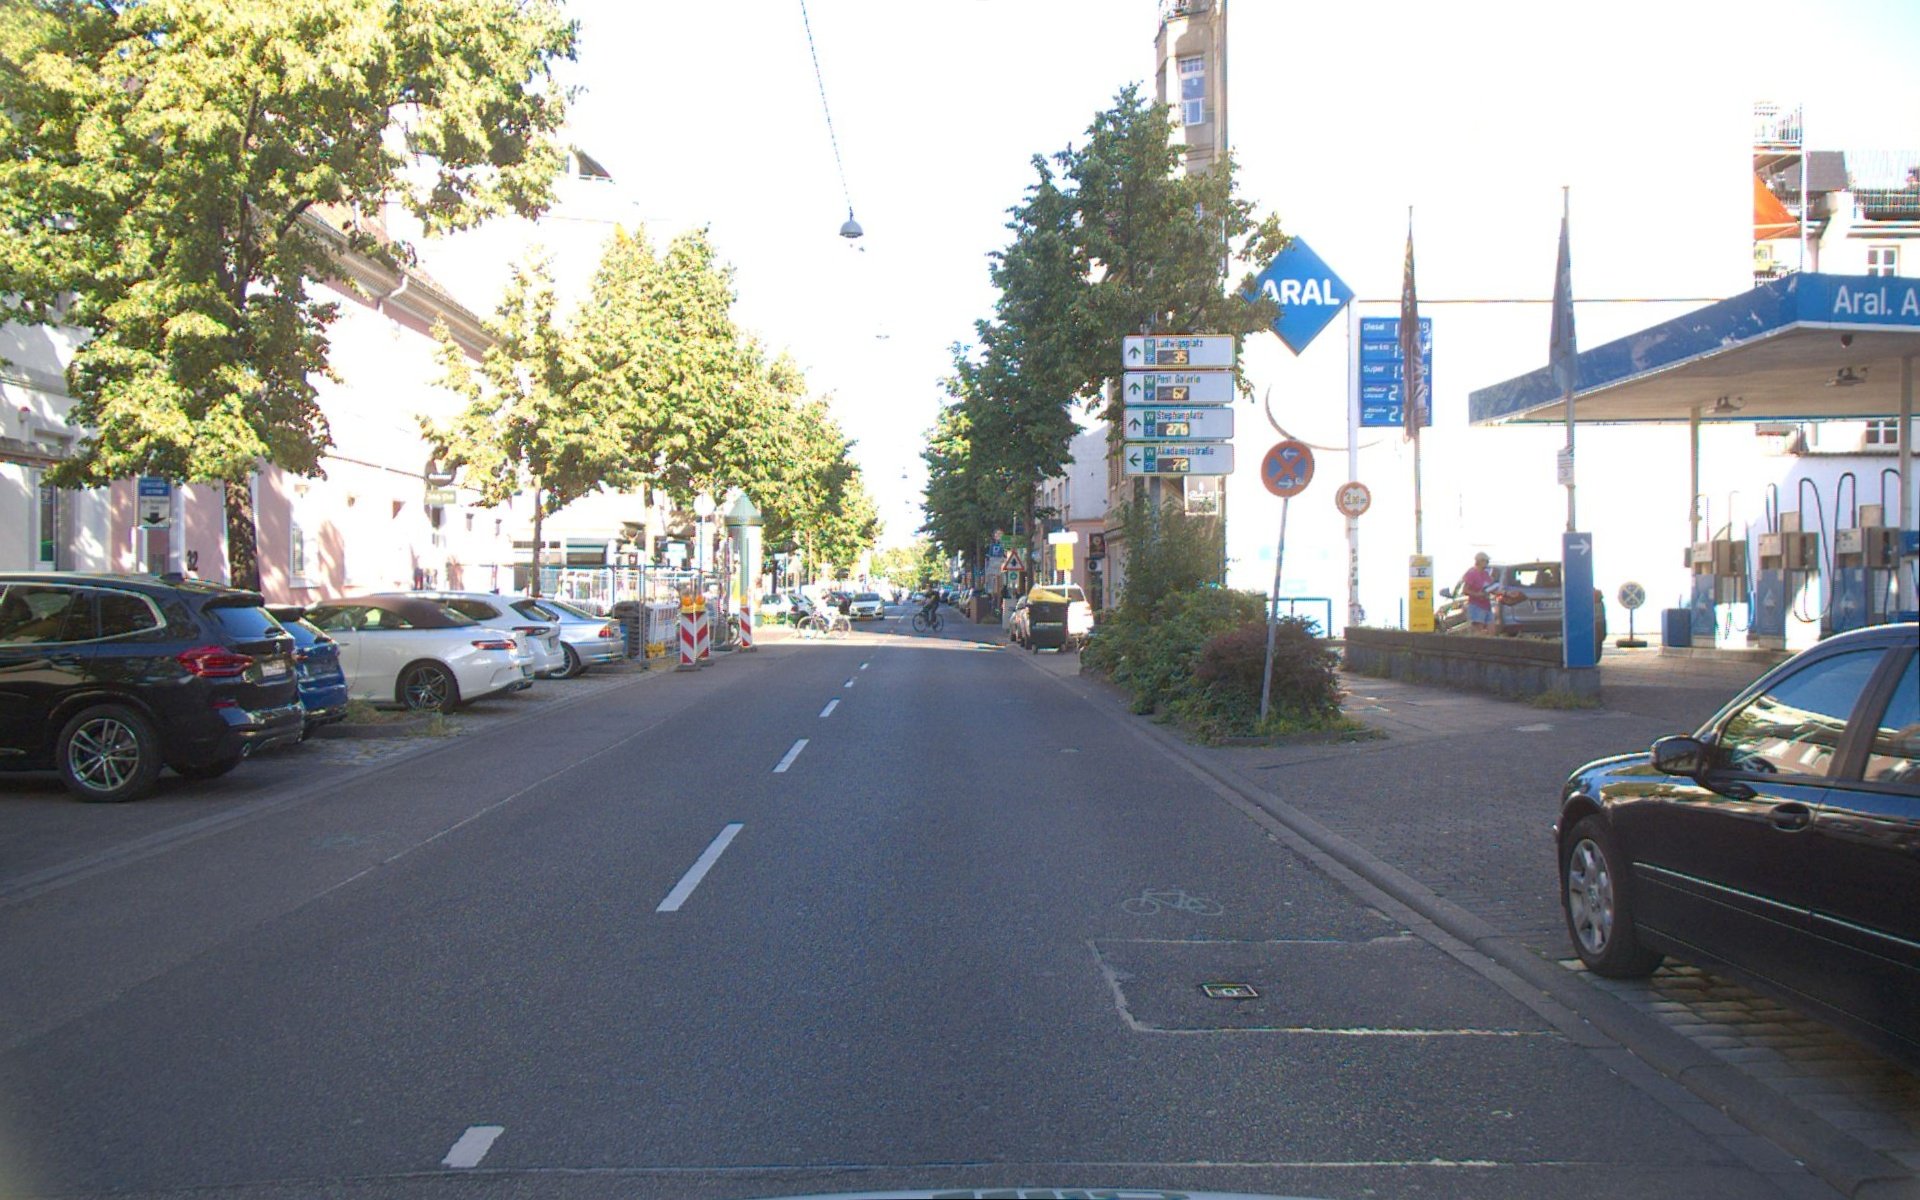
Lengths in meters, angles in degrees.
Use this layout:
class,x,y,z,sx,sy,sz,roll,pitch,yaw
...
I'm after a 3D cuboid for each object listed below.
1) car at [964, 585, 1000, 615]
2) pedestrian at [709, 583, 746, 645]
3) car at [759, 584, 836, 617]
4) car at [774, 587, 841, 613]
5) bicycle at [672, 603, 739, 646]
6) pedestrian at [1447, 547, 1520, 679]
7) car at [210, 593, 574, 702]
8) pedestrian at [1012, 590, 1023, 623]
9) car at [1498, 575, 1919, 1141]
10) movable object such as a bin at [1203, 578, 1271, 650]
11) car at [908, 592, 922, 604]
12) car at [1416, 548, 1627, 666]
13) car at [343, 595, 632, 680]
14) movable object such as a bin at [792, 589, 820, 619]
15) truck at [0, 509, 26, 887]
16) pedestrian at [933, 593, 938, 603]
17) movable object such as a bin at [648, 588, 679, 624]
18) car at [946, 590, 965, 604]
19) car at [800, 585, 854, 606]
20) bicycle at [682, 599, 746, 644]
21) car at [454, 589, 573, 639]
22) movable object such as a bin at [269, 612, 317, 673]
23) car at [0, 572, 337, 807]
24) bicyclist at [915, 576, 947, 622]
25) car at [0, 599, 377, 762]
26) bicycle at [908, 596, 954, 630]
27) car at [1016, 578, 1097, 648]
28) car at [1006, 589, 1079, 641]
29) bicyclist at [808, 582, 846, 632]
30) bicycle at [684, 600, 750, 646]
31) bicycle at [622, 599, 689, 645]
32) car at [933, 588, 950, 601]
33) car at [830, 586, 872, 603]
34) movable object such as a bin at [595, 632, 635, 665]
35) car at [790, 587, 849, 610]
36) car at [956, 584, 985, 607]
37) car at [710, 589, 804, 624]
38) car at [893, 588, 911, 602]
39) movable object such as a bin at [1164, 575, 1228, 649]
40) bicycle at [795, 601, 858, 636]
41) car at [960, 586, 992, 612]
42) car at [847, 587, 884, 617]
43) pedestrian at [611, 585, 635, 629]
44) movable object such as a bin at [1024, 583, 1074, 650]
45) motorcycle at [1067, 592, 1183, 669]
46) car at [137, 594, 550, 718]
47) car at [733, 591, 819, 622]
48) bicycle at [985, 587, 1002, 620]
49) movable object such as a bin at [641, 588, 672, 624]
class,x,y,z,sx,sy,sz,roll,pitch,yaw
car,1.259,-0.017,96.670,1.953,1.637,3.999,-1,1,-2
pedestrian,-6.667,0.396,47.393,0.785,1.737,0.758,0,0,-34
car,-8.968,0.000,91.512,3.903,1.724,2.001,-1,1,3
car,-9.213,-0.005,100.323,3.907,1.526,1.999,-1,1,-3
bicycle,-7.073,0.683,46.034,1.820,1.191,0.599,0,0,-9
pedestrian,7.635,0.185,24.138,0.698,1.882,0.683,-1,0,-25
car,-7.997,0.643,23.643,4.588,1.491,1.806,0,0,-5
pedestrian,3.006,0.336,86.849,0.535,1.678,0.664,-1,0,-1
car,3.416,0.665,5.087,1.862,1.436,4.645,-2,0,-2
movable object such as a bin,6.186,0.307,37.028,1.245,1.557,1.176,-1,0,-3
car,-6.003,-0.270,221.290,1.756,1.436,3.999,-1,1,-2
car,8.771,0.088,26.232,1.862,1.677,4.293,-1,0,0
car,-8.206,0.634,29.044,4.588,1.437,1.806,0,0,-5
movable object such as a bin,-7.954,0.222,85.303,1.307,1.504,1.480,-1,0,-2
truck,-7.483,0.569,7.763,4.982,1.972,1.999,-1,0,-2
pedestrian,-2.556,-0.228,172.866,0.534,1.044,0.546,-1,0,-4
movable object such as a bin,-12.859,0.250,71.732,1.148,1.511,1.314,-1,0,-4
car,-0.479,-0.312,178.009,1.953,1.534,3.998,0,0,-2
car,-10.039,-0.328,125.025,3.907,1.526,1.999,-1,1,-3
bicycle,-7.092,0.614,47.720,1.820,1.274,0.599,0,0,-9
car,-16.083,0.490,59.574,3.933,1.638,1.986,-2,0,-23
movable object such as a bin,-12.214,0.772,30.300,0.619,1.078,0.544,-2,0,-1
car,-7.554,0.657,13.039,4.584,1.723,1.808,0,0,0
bicyclist,-1.106,-0.029,63.084,0.706,1.722,1.154,-1,0,34
car,-8.292,0.740,16.099,4.584,1.489,1.808,0,0,0
bicycle,-1.105,0.500,63.083,0.706,1.241,2.030,-1,0,33
car,2.578,0.318,45.186,1.785,1.708,4.600,-3,0,-1
car,2.474,0.423,50.504,1.786,1.415,4.299,-3,0,-2
bicyclist,-4.358,0.222,54.128,1.025,1.587,0.762,-1,0,-28
bicycle,-6.862,0.645,46.713,1.820,1.274,0.599,0,0,-9
bicycle,-8.567,0.613,46.489,1.749,1.274,0.601,0,0,10
car,-2.193,-0.620,197.566,1.953,1.534,3.998,0,0,-2
car,-10.476,-0.523,159.218,3.907,1.526,1.999,-1,1,-3
movable object such as a bin,-7.217,1.014,34.618,0.615,0.627,1.077,-1,0,-2
car,-9.699,-0.119,114.263,3.907,1.526,1.999,-1,1,-3
car,0.766,-0.359,122.672,1.953,1.637,3.999,-1,1,-2
car,-8.912,0.273,72.811,3.907,1.414,1.999,-1,1,-3
car,-6.253,-0.576,177.294,1.786,1.415,4.299,-3,0,-2
movable object such as a bin,5.463,0.259,38.377,1.181,1.656,1.497,-1,0,-3
bicycle,-4.373,0.595,54.131,1.927,1.077,0.762,-1,0,-28
car,1.029,-0.096,110.041,1.953,1.637,3.999,-1,1,-2
car,-4.972,0.107,87.530,1.766,1.460,4.407,-3,0,-2
pedestrian,-13.050,0.266,64.048,0.755,1.671,0.689,-1,0,-2
movable object such as a bin,2.209,0.399,40.895,1.118,1.589,1.460,-1,0,7
motorcycle,3.040,0.548,30.544,1.944,1.353,0.908,-1,0,-14
car,-7.728,0.675,21.089,4.588,1.491,1.806,0,0,-5
car,-8.717,0.299,78.605,3.907,1.414,1.999,-1,1,-3
bicycle,1.548,0.158,77.009,0.549,1.465,1.628,-6,1,-1
movable object such as a bin,-12.896,0.240,70.274,1.117,1.511,1.235,-1,0,-4
